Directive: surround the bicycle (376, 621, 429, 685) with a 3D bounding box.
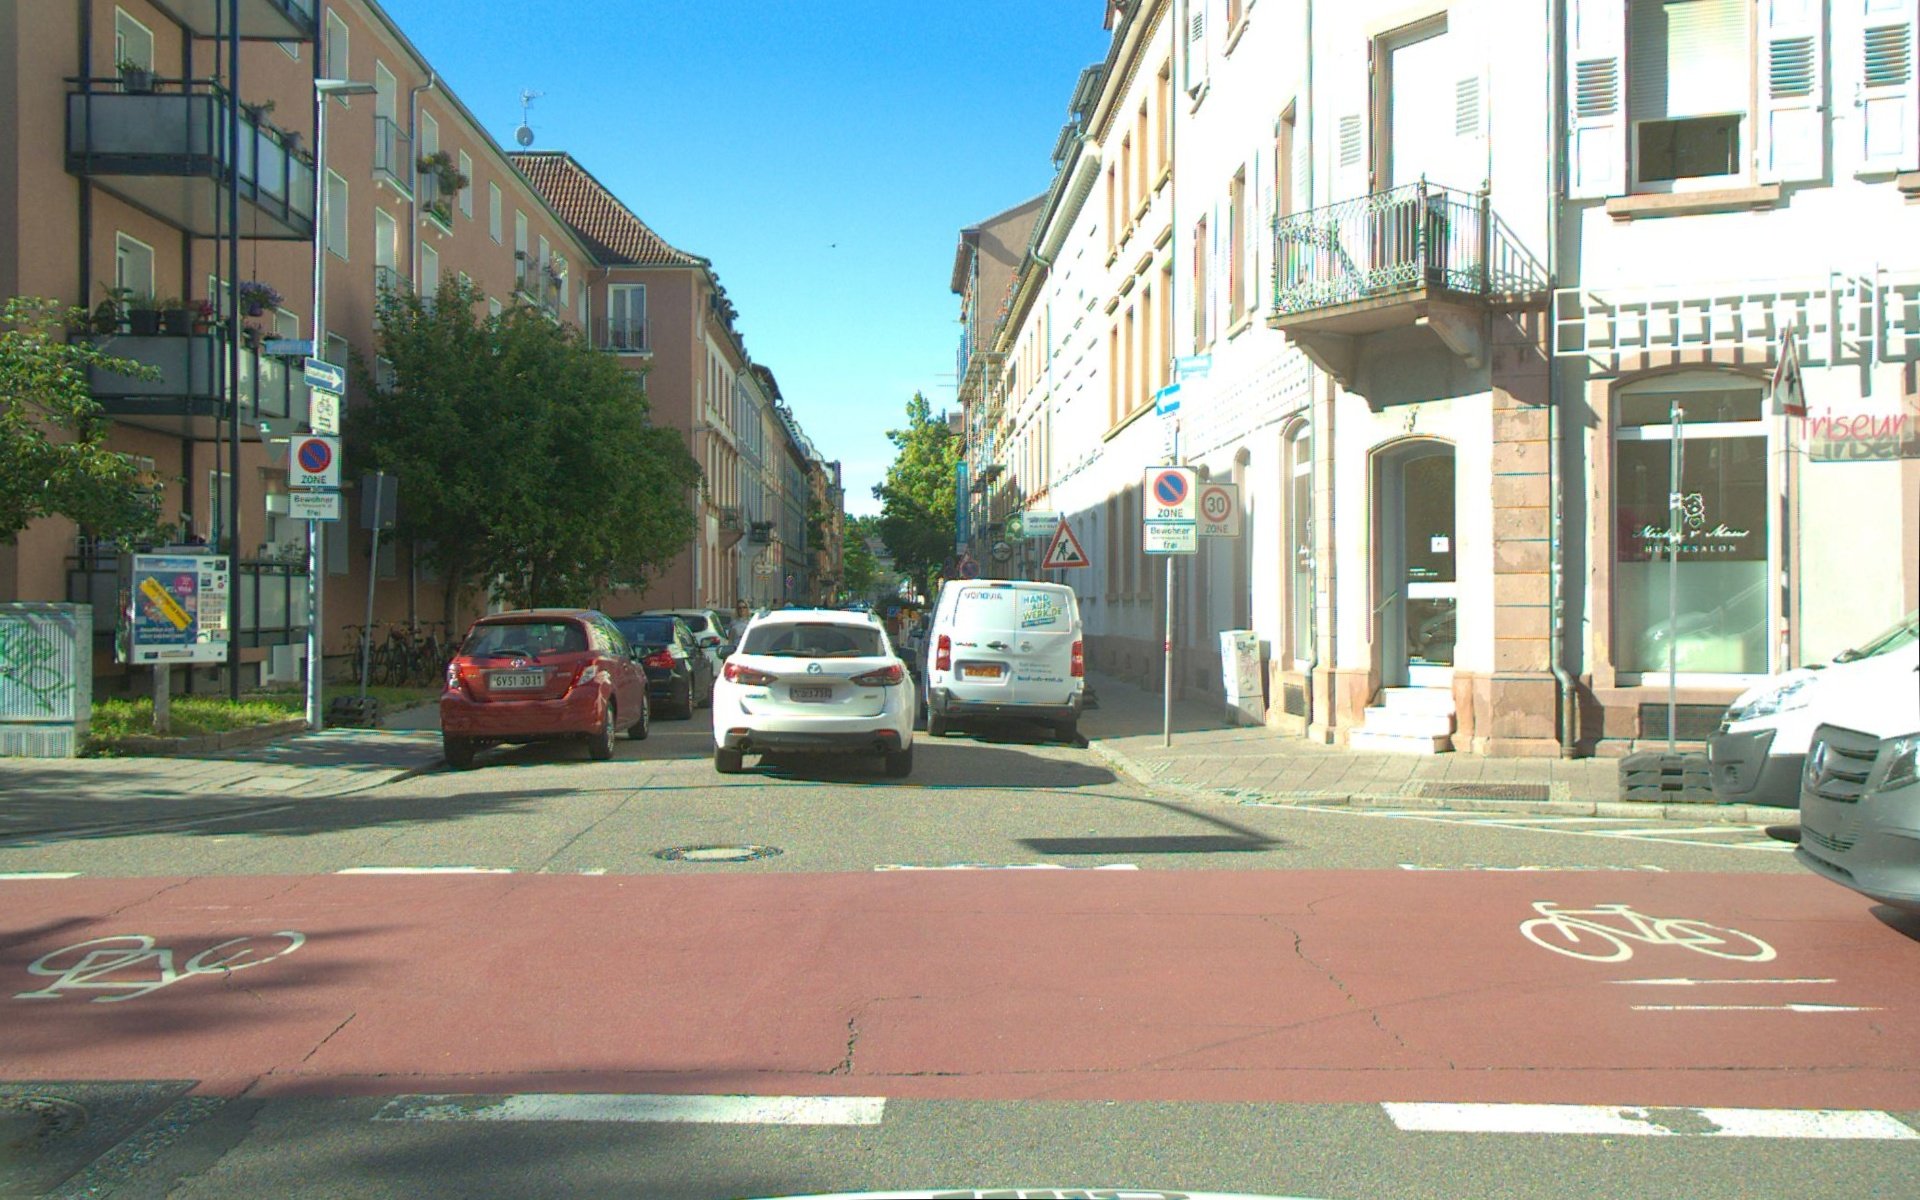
[{"bbox_3d":[-9.660,0.905,28.633,1.193,1.089,0.252,0,0,38],"label":"bicycle"}]

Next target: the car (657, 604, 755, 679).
[{"bbox_3d":[-5.417,0.861,35.638,1.620,1.526,3.762,0,0,-1],"label":"car"}]

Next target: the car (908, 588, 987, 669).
[{"bbox_3d":[-0.336,0.677,40.574,1.856,1.892,3.993,0,0,-1],"label":"car"}]

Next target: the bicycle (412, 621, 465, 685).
[{"bbox_3d":[-9.131,0.926,28.969,1.196,1.090,0.252,0,0,38],"label":"bicycle"}]

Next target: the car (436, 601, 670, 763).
[{"bbox_3d":[-4.274,0.797,17.914,1.651,1.526,3.805,-1,0,-1],"label":"car"}]

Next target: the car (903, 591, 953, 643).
[{"bbox_3d":[-1.224,0.634,62.728,1.856,1.892,3.993,0,0,-1],"label":"car"}]

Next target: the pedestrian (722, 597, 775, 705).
[{"bbox_3d":[-3.299,0.789,25.736,0.720,1.642,0.813,0,-1,-14],"label":"pedestrian"}]

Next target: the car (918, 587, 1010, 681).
[{"bbox_3d":[0.035,0.691,35.504,1.856,1.892,3.993,0,0,-1],"label":"car"}]

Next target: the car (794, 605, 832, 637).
[{"bbox_3d":[-7.182,0.999,81.109,1.620,1.526,3.762,0,0,-1],"label":"car"}]

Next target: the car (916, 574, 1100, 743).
[{"bbox_3d":[0.494,0.681,21.577,1.857,1.891,5.010,2,0,-4],"label":"car"}]

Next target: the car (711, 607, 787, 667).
[{"bbox_3d":[-5.618,0.967,44.394,1.620,1.526,3.762,0,0,-1],"label":"car"}]

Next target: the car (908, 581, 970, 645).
[{"bbox_3d":[-0.690,0.408,52.847,1.856,1.891,3.993,-2,0,-1],"label":"car"}]

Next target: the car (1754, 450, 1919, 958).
[{"bbox_3d":[6.350,0.398,6.735,5.291,1.941,2.109,0,0,14],"label":"car"}]

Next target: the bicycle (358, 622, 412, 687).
[{"bbox_3d":[-9.867,0.922,28.372,1.193,1.091,0.265,0,0,38],"label":"bicycle"}]

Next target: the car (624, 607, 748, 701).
[{"bbox_3d":[-4.721,0.887,28.895,1.620,1.526,3.762,0,0,-1],"label":"car"}]

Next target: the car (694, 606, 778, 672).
[{"bbox_3d":[-5.394,0.910,40.162,1.620,1.526,3.762,0,0,-1],"label":"car"}]

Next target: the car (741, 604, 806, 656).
[{"bbox_3d":[-5.615,0.877,50.144,1.620,1.526,3.762,0,0,-1],"label":"car"}]

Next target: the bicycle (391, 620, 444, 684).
[{"bbox_3d":[-9.477,0.906,28.881,1.193,1.090,0.252,0,0,38],"label":"bicycle"}]

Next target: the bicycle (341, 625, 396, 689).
[{"bbox_3d":[-10.059,0.953,28.097,1.193,1.053,0.290,0,0,38],"label":"bicycle"}]

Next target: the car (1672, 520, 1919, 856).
[{"bbox_3d":[7.220,0.521,10.326,4.904,1.980,2.052,0,0,18],"label":"car"}]

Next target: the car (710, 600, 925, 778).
[{"bbox_3d":[-1.243,0.800,15.844,1.794,1.483,3.960,0,-2,-2],"label":"car"}]

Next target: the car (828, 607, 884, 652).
[{"bbox_3d":[-3.455,0.955,55.627,1.725,1.435,4.326,0,0,-1],"label":"car"}]

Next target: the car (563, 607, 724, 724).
[{"bbox_3d":[-4.452,0.872,23.780,1.620,1.526,4.078,0,0,-1],"label":"car"}]
